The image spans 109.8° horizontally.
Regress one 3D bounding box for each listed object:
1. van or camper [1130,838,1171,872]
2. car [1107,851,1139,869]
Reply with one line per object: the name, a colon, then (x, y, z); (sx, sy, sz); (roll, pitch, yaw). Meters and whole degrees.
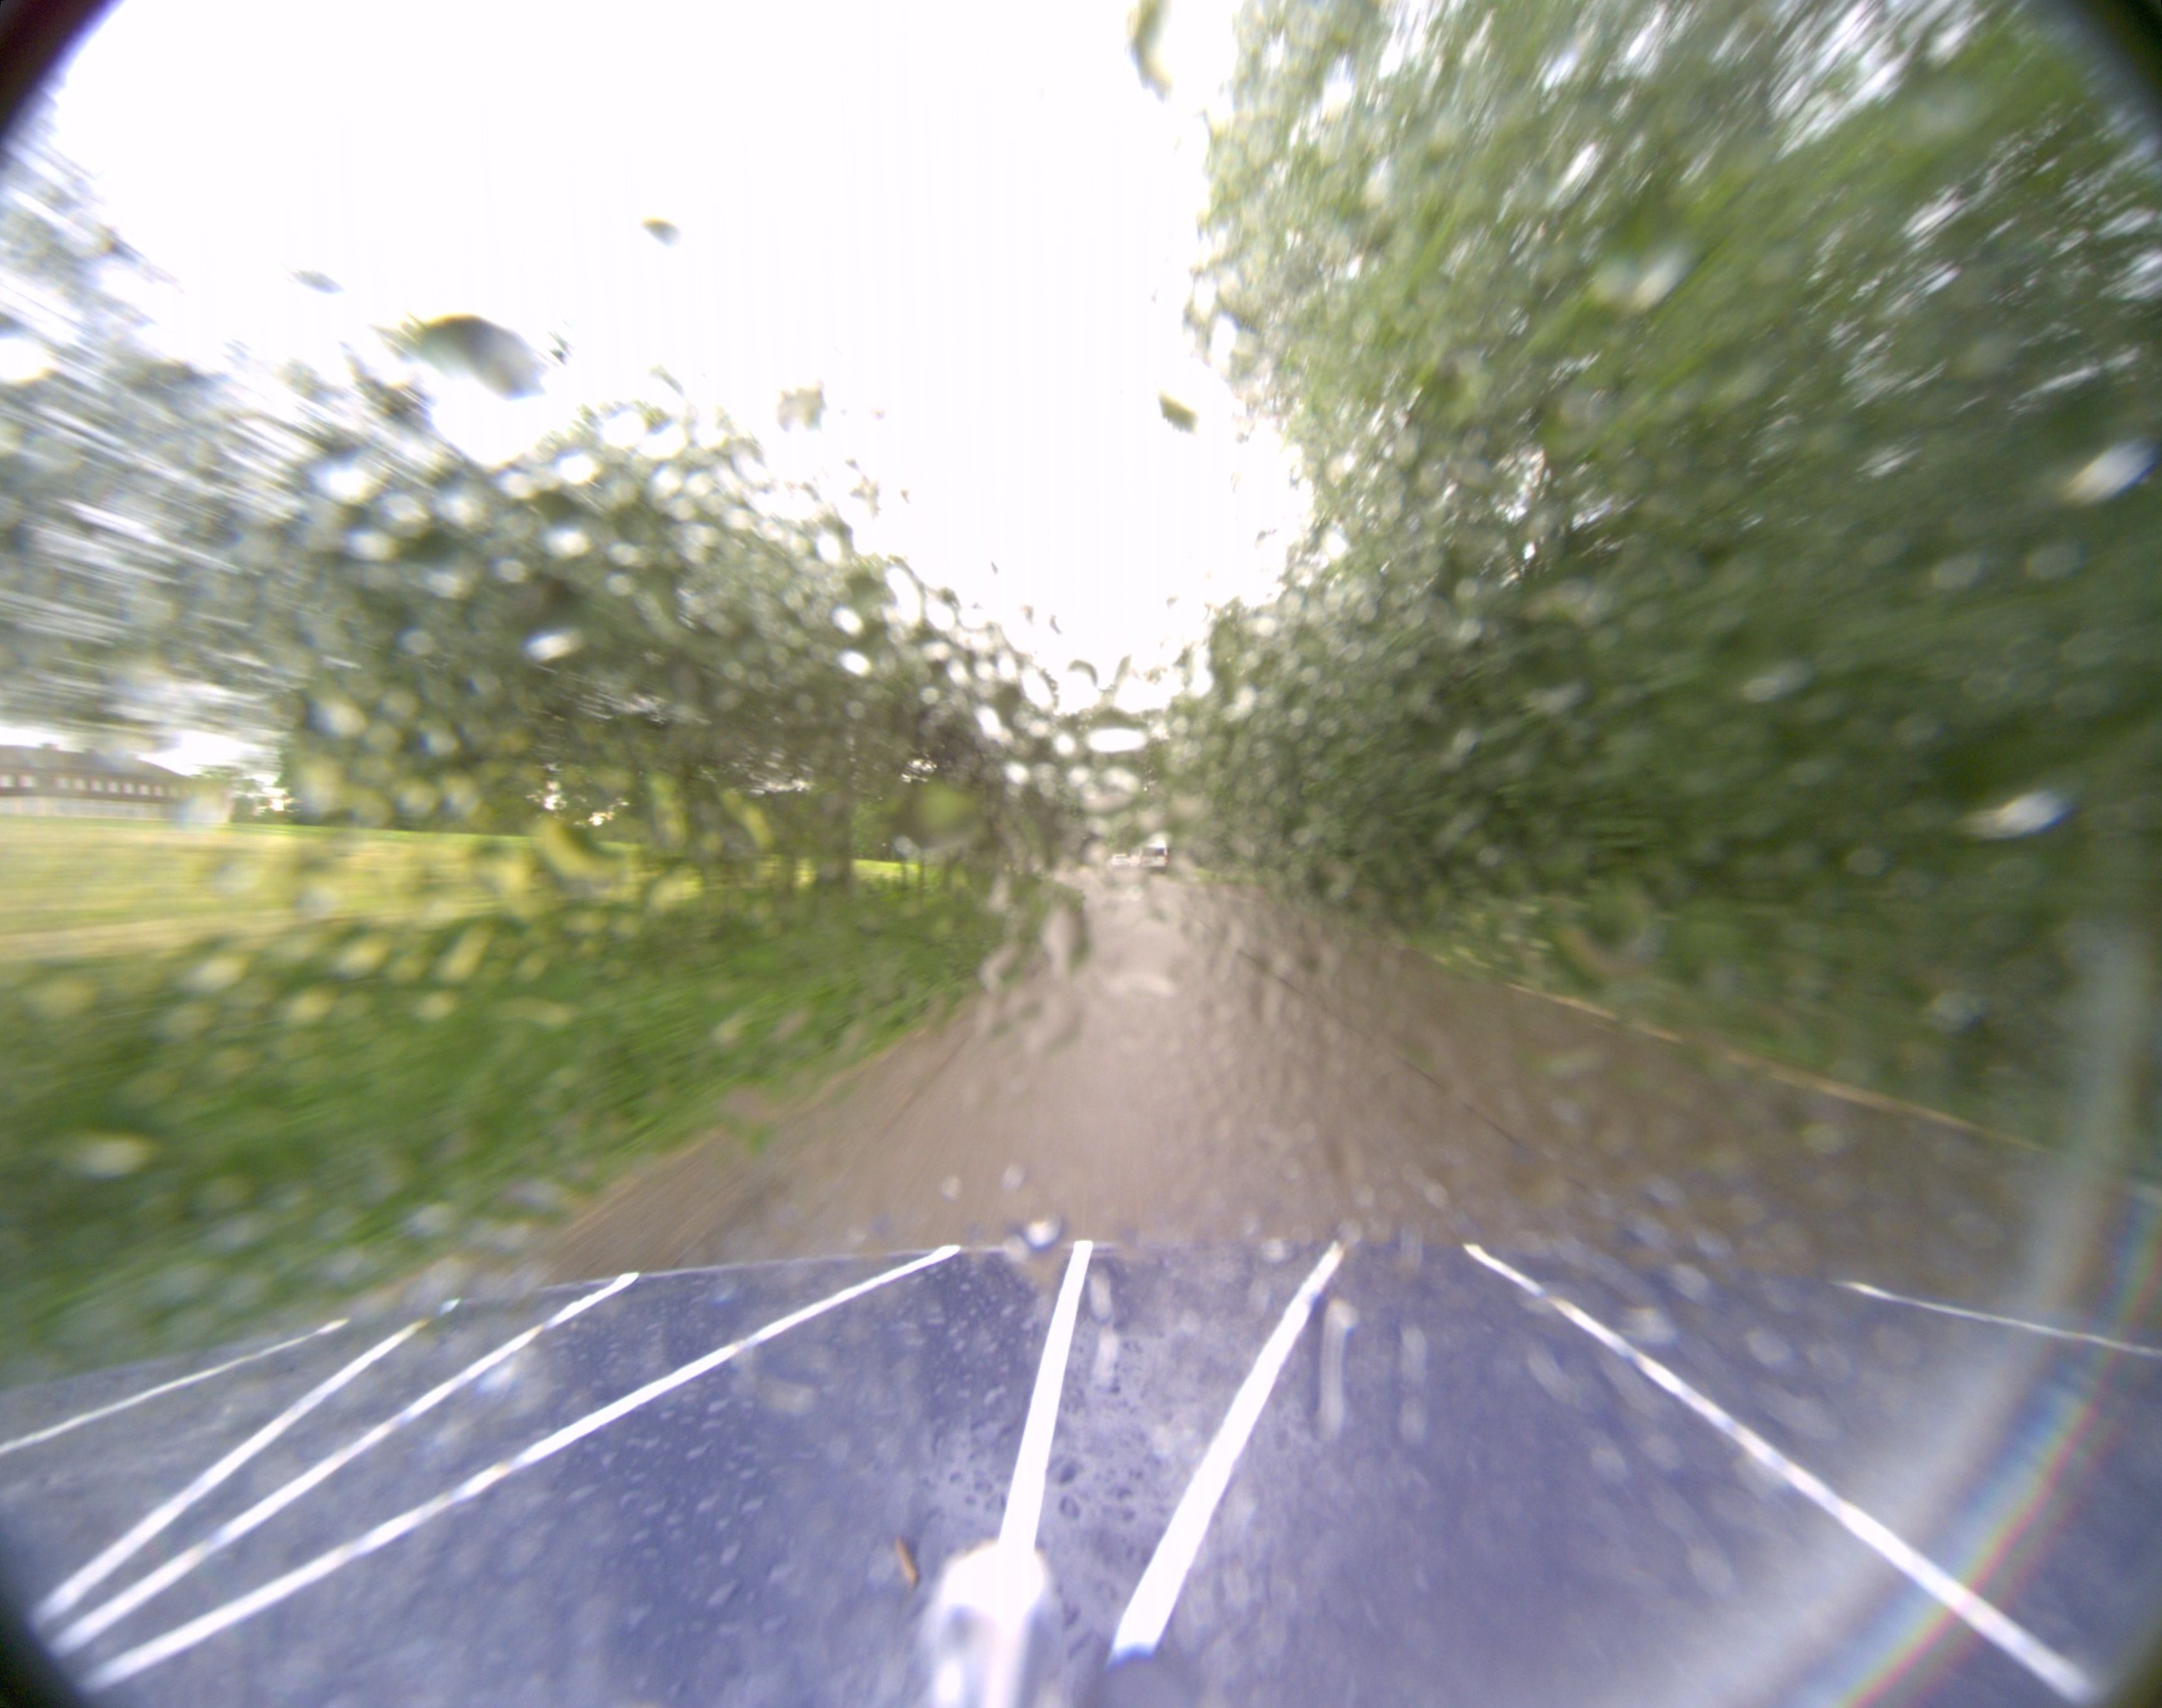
van or camper: (5.257, 0.089, 58.215); (2.203, 2.501, 4.834); (0, 0, -6)
car: (3.734, 0.521, 68.301); (2.104, 1.571, 4.555); (0, 0, -6)
